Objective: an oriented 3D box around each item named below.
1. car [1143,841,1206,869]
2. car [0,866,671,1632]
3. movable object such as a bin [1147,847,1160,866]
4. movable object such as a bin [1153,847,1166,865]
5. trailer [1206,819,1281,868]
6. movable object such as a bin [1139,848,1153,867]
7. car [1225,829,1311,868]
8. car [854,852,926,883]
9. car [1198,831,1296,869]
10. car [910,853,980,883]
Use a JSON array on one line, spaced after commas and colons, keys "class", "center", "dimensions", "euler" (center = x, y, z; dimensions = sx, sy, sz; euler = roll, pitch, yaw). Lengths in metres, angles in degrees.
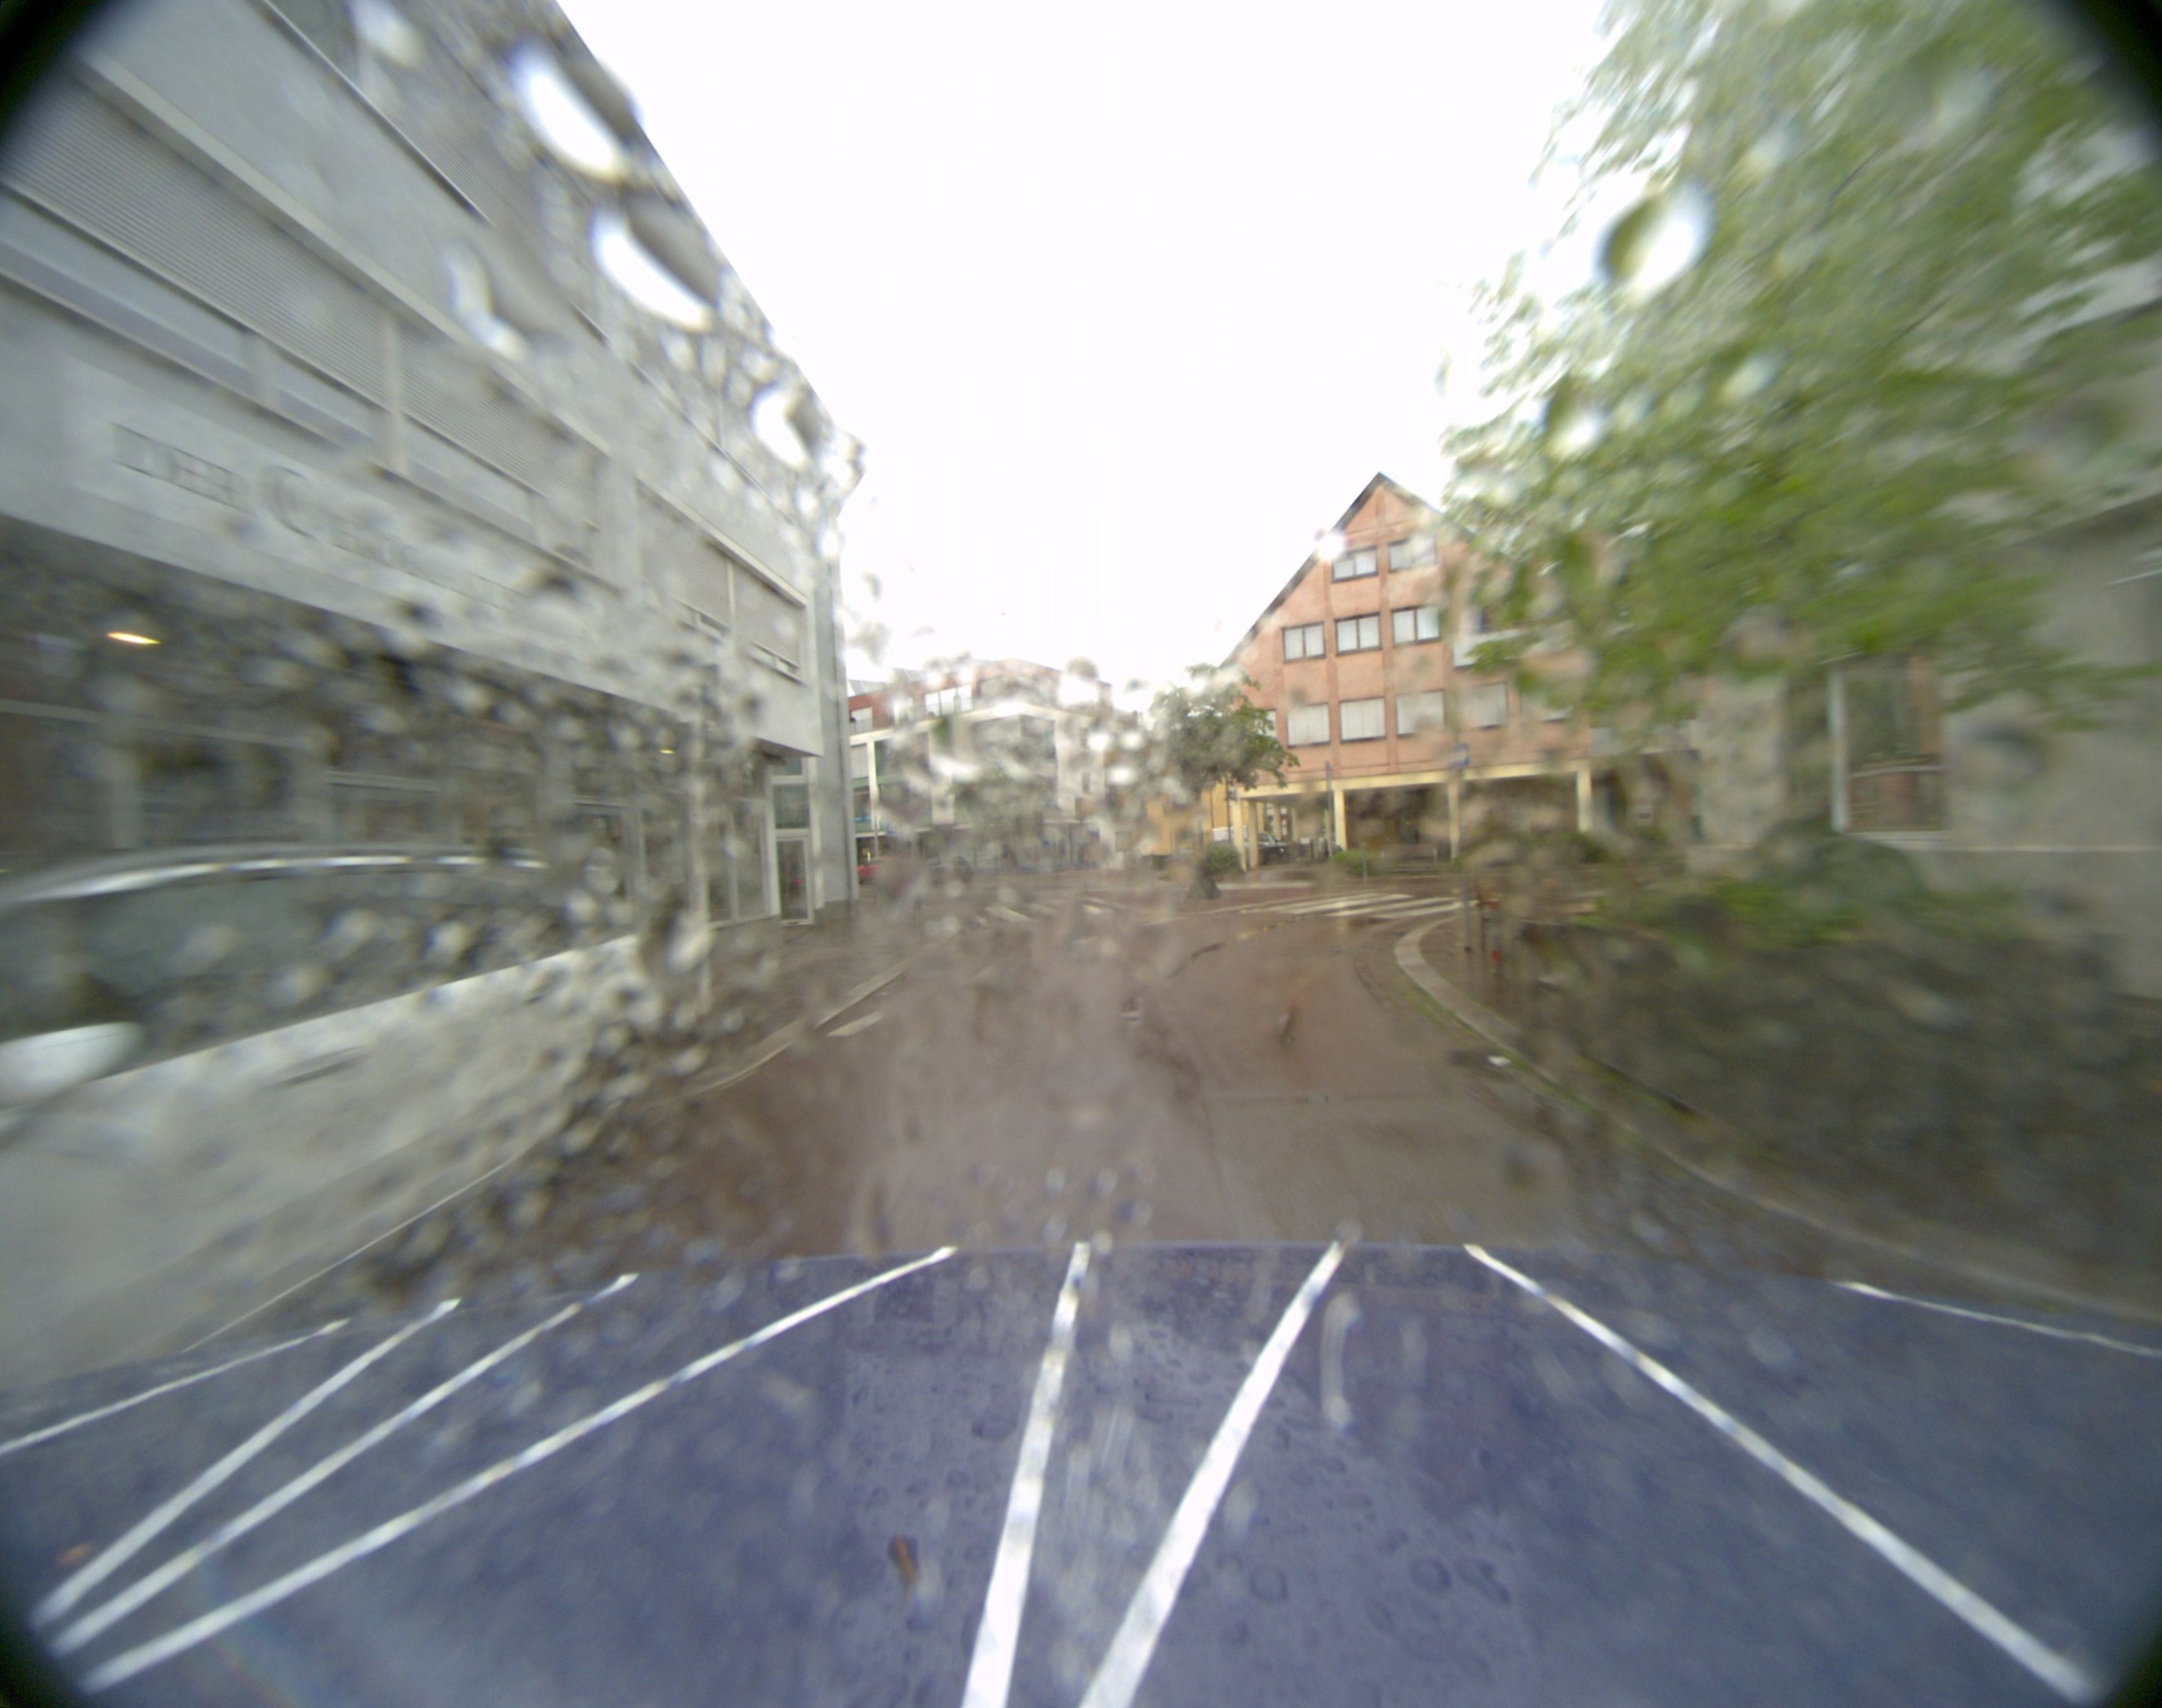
[{"class": "car", "center": [6.158, 0.053, 49.744], "dimensions": [1.994, 1.500, 4.551], "euler": [-2, 3, 38]}, {"class": "car", "center": [-3.234, 0.902, 2.145], "dimensions": [1.792, 1.589, 4.439], "euler": [-4, 0, -3]}, {"class": "movable object such as a bin", "center": [4.859, 0.196, 50.848], "dimensions": [0.630, 1.226, 0.524], "euler": [-2, 3, 37]}, {"class": "movable object such as a bin", "center": [5.290, 0.136, 51.373], "dimensions": [0.630, 1.226, 0.524], "euler": [-2, 3, 37]}, {"class": "trailer", "center": [8.040, -0.482, 37.615], "dimensions": [3.086, 2.075, 1.839], "euler": [-6, -1, 26]}, {"class": "movable object such as a bin", "center": [4.290, 0.253, 50.084], "dimensions": [0.630, 1.226, 0.524], "euler": [-2, 3, 37]}, {"class": "car", "center": [9.911, -0.280, 40.318], "dimensions": [3.991, 1.661, 1.839], "euler": [-6, -1, 26]}, {"class": "car", "center": [-10.977, 0.773, 43.580], "dimensions": [3.911, 1.546, 1.806], "euler": [-2, 3, 35]}, {"class": "car", "center": [7.634, -0.200, 34.989], "dimensions": [3.990, 1.500, 1.838], "euler": [-2, 3, 26]}, {"class": "car", "center": [-7.292, 0.739, 40.620], "dimensions": [3.576, 1.428, 1.683], "euler": [-2, 3, 38]}]
